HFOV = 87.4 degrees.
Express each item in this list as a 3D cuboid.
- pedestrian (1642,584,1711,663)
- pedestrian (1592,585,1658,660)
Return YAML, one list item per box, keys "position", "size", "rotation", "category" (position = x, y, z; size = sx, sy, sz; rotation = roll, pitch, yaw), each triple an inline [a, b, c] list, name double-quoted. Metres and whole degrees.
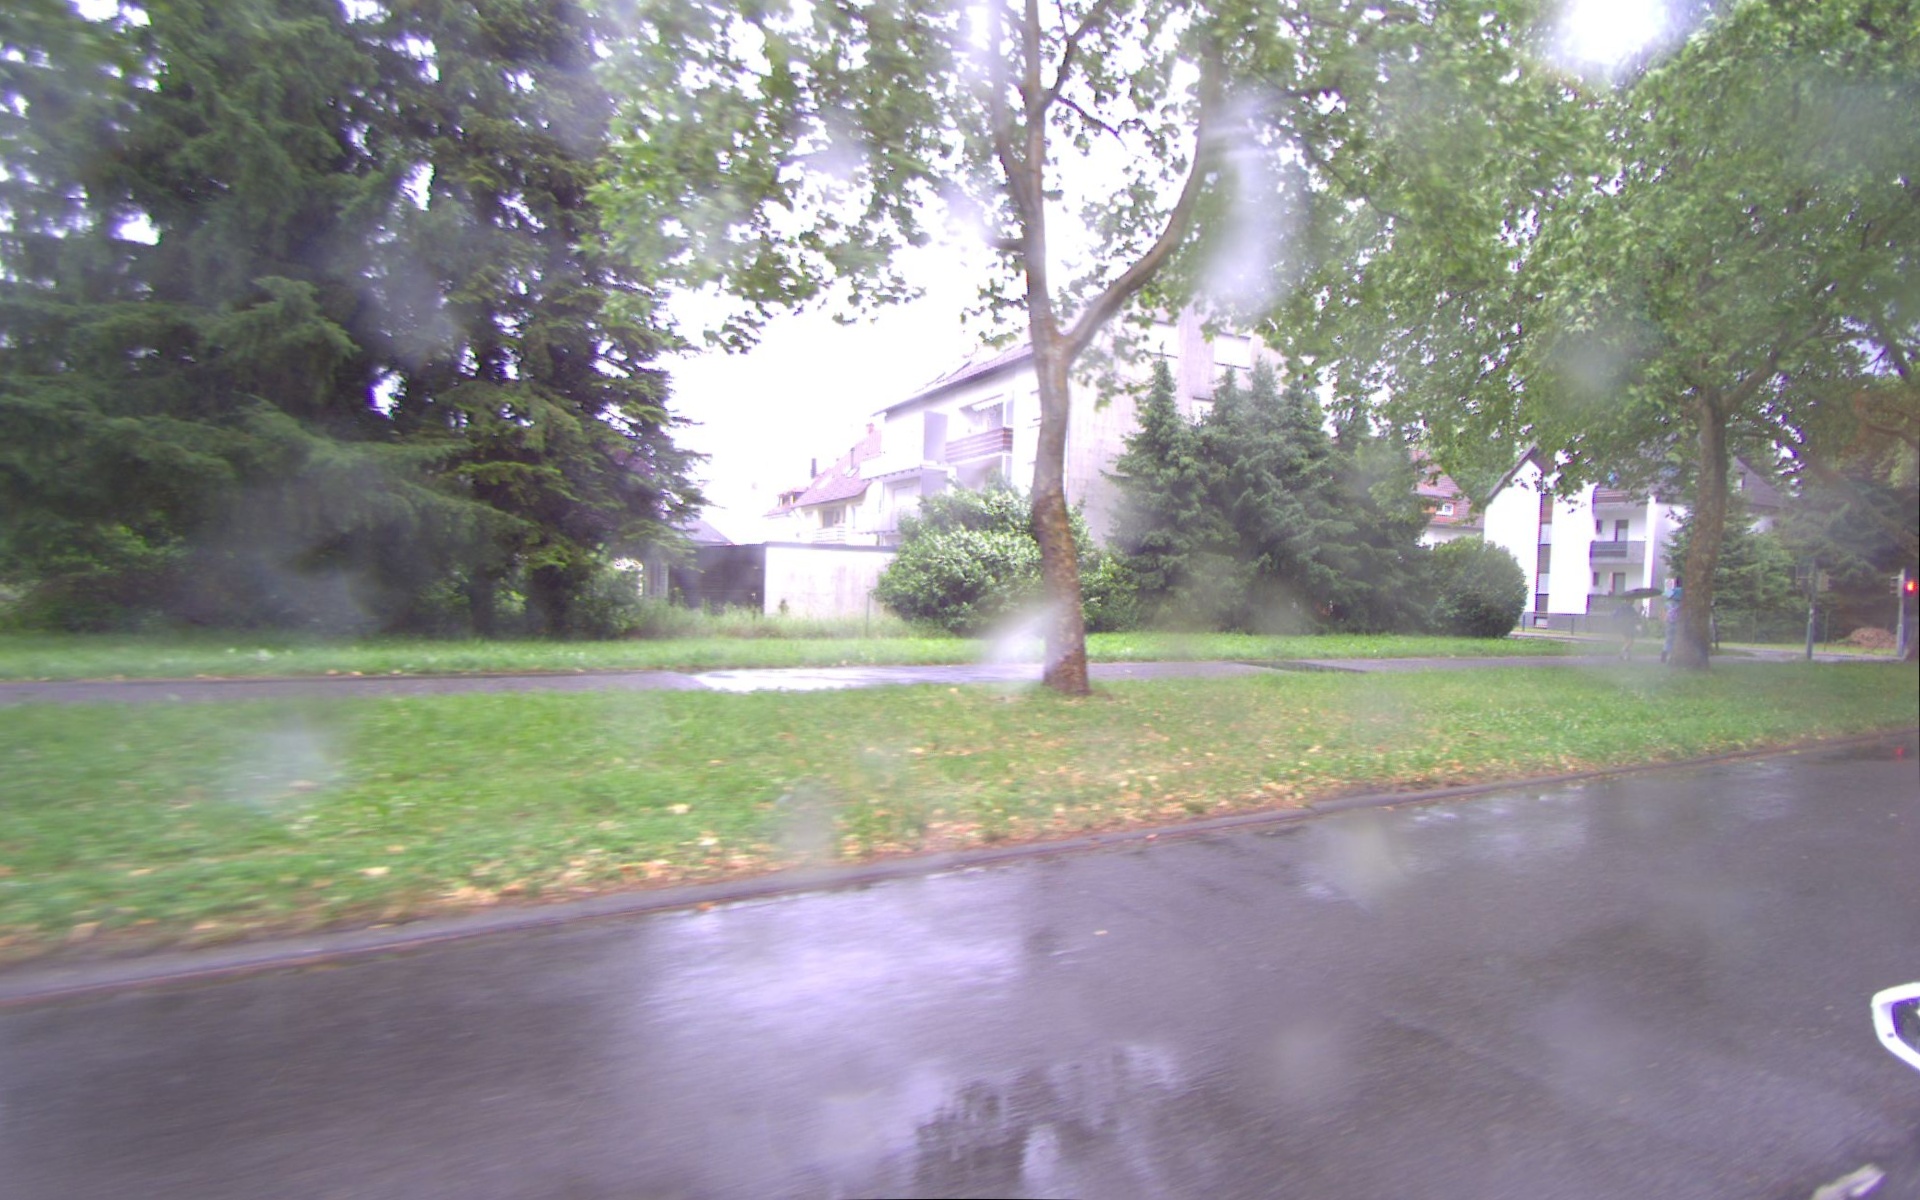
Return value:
- position: [16.674, 0.530, 23.384]
  size: [0.828, 1.789, 1.028]
  rotation: [1, 1, -30]
  category: "pedestrian"
- position: [16.147, 0.532, 24.416]
  size: [0.869, 1.789, 1.028]
  rotation: [1, 1, -30]
  category: "pedestrian"
